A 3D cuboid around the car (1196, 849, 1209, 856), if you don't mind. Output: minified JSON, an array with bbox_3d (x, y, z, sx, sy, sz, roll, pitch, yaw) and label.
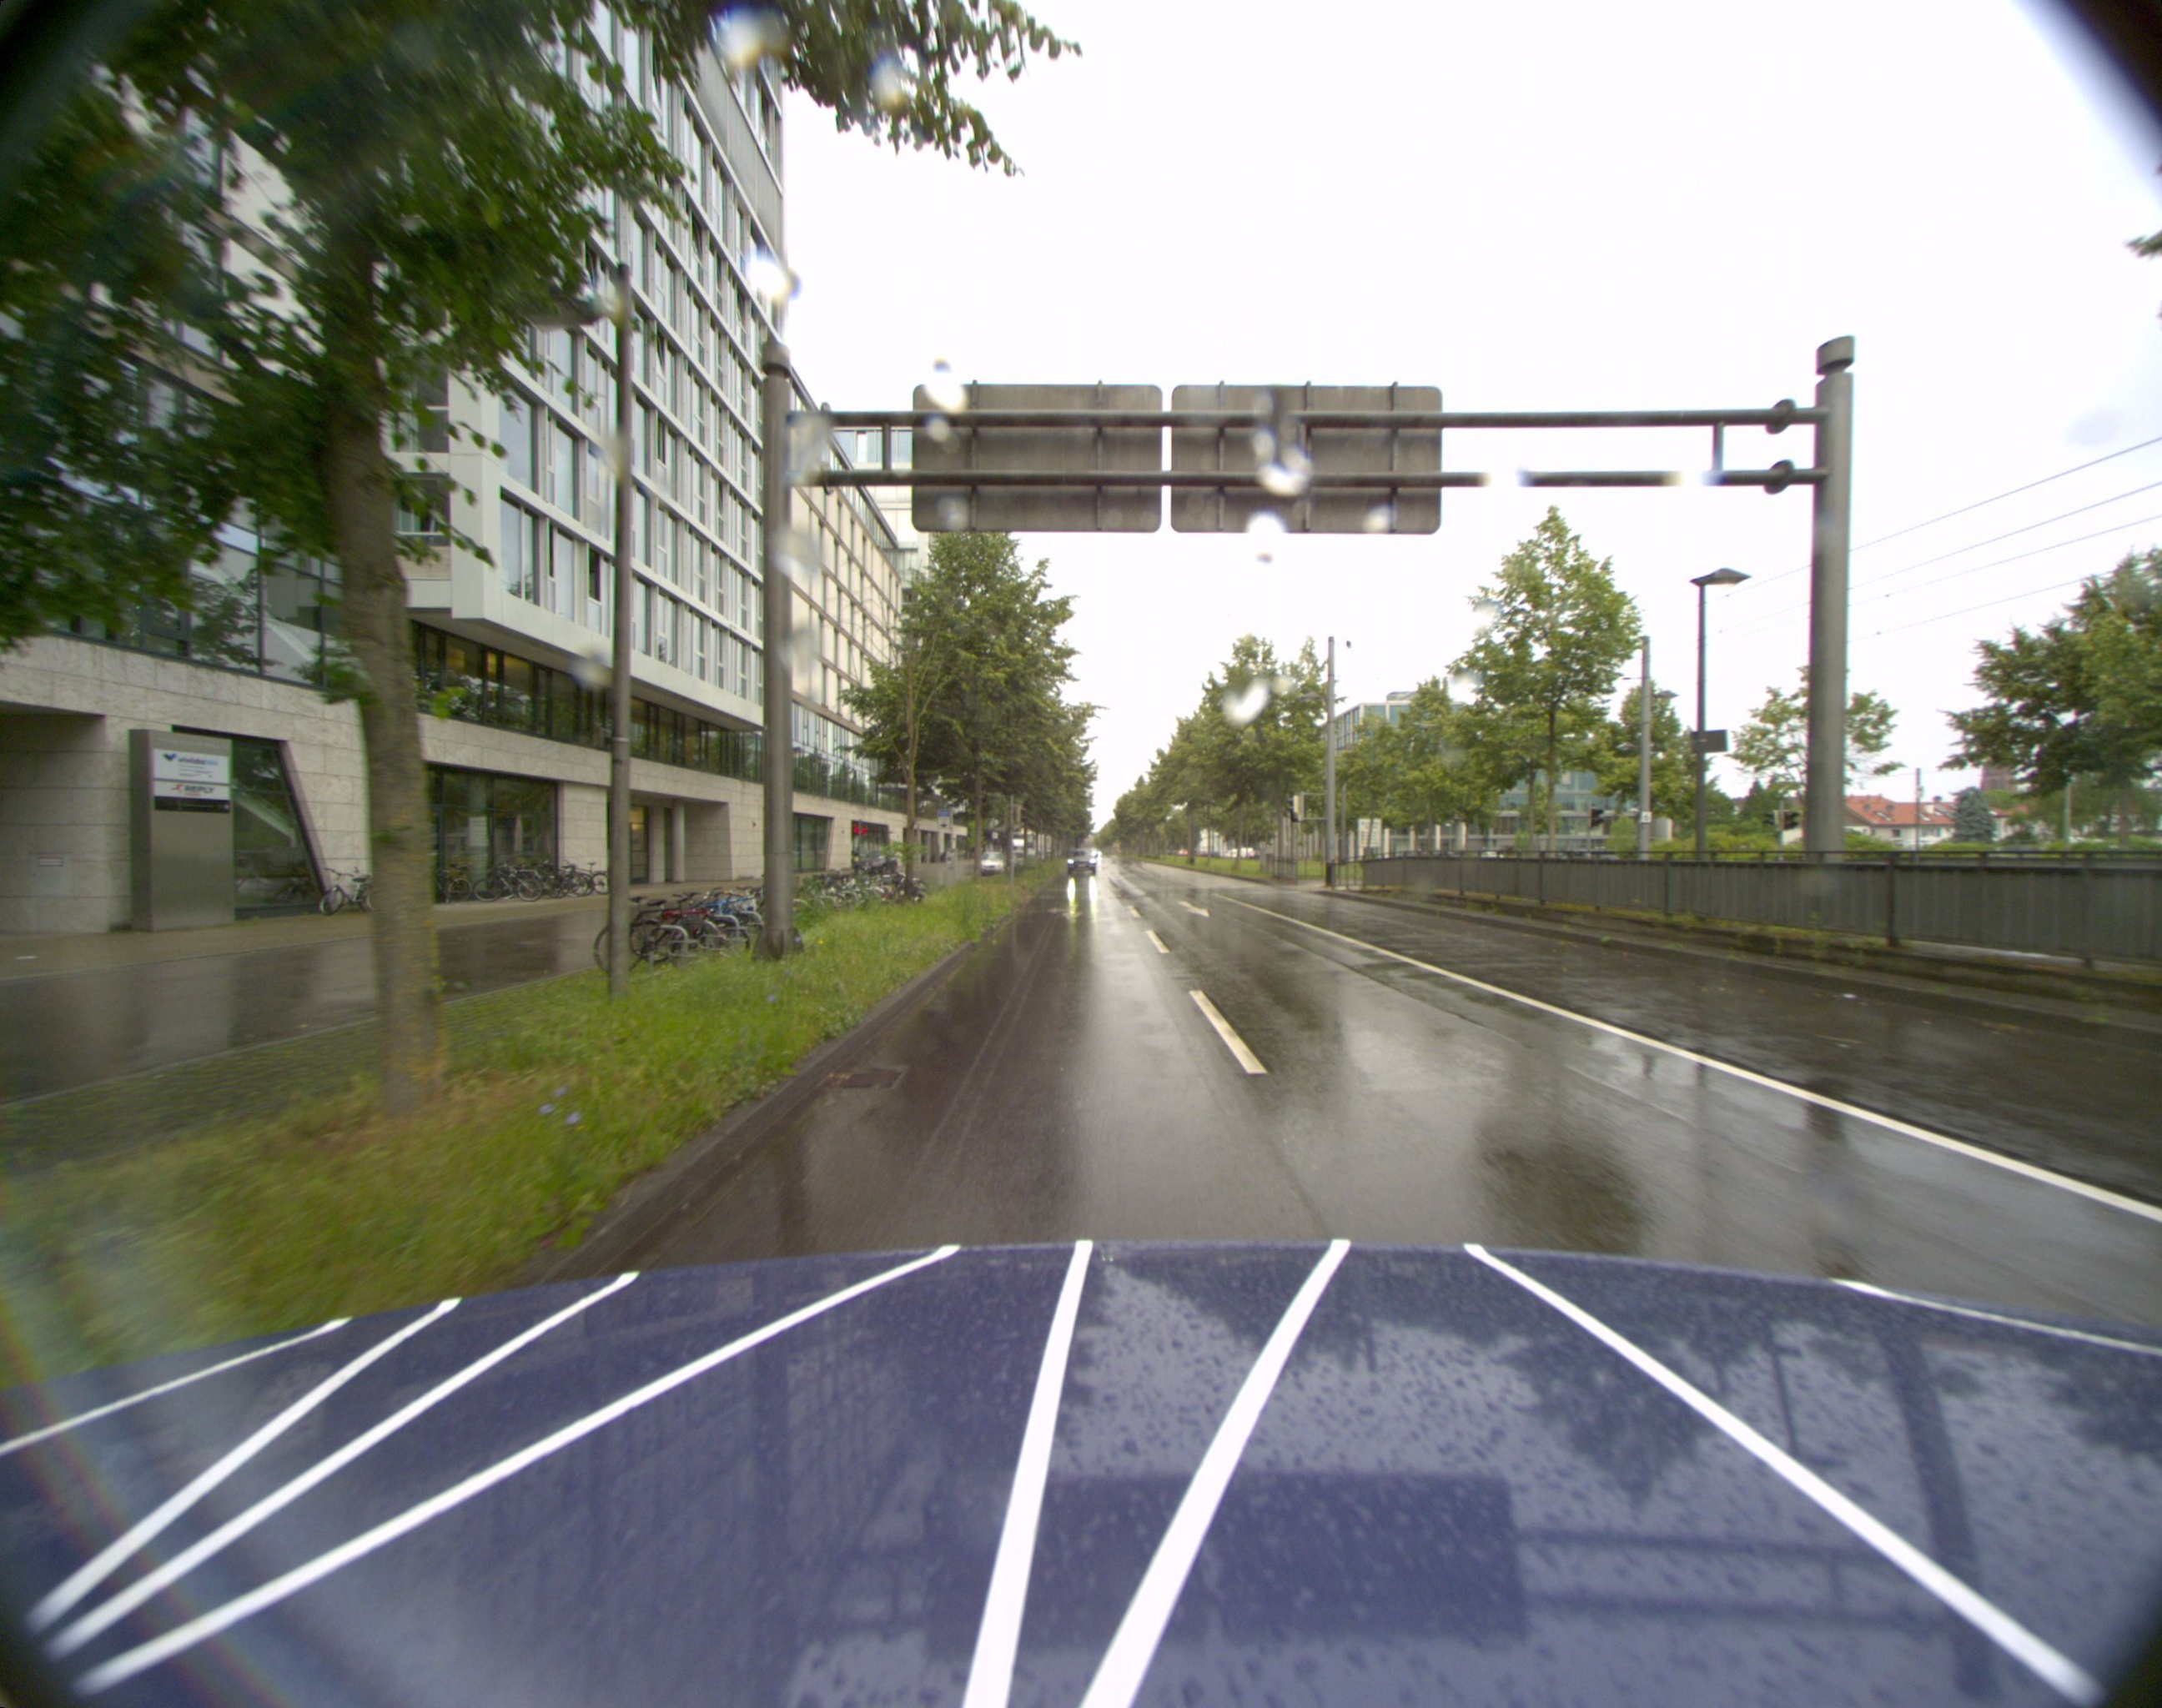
[{"bbox_3d":[26.980,-0.229,168.921,1.956,1.377,4.605,1,-2,0],"label":"car"}]

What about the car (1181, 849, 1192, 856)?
[{"bbox_3d":[24.598,-0.337,177.613,1.955,1.444,4.575,0,0,0],"label":"car"}]

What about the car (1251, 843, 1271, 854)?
[{"bbox_3d":[23.467,-0.716,99.326,1.492,1.290,4.975,1,1,0],"label":"car"}]

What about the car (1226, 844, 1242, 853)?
[{"bbox_3d":[29.427,-1.007,146.261,1.956,1.641,5.030,1,-2,-2],"label":"car"}]

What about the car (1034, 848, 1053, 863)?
[{"bbox_3d":[-4.537,0.168,93.467,1.998,1.659,4.725,1,-2,1],"label":"car"}]

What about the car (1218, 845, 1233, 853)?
[{"bbox_3d":[27.228,-1.022,143.543,1.955,1.504,4.575,0,0,0],"label":"car"}]

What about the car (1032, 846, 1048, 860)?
[{"bbox_3d":[-4.752,-0.102,88.390,1.629,1.482,3.655,1,-1,0],"label":"car"}]

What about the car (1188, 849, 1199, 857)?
[{"bbox_3d":[26.800,-0.257,180.939,1.956,1.837,4.543,1,-1,0],"label":"car"}]

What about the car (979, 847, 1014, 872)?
[{"bbox_3d":[-5.439,0.386,48.459,1.888,1.496,4.720,1,-2,-10],"label":"car"}]

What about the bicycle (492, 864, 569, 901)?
[{"bbox_3d":[-15.679,0.806,21.656,1.811,1.022,0.541,1,1,3],"label":"bicycle"}]

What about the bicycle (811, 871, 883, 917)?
[{"bbox_3d":[-5.590,0.955,18.206,1.617,1.047,0.296,1,1,-2],"label":"bicycle"}]

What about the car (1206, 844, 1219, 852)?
[{"bbox_3d":[27.003,-1.188,155.886,1.956,1.485,3.963,1,-2,-2],"label":"car"}]

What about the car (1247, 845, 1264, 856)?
[{"bbox_3d":[29.392,-0.558,128.098,1.955,1.739,4.577,0,1,4],"label":"car"}]

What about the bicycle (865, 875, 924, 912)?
[{"bbox_3d":[-5.310,1.116,21.652,1.577,1.012,0.408,1,1,7],"label":"bicycle"}]

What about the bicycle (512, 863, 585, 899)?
[{"bbox_3d":[-15.644,0.793,22.338,1.811,1.022,0.541,1,1,3],"label":"bicycle"}]

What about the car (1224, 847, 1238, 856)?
[{"bbox_3d":[26.407,-0.480,133.784,1.955,1.452,4.834,0,-2,4],"label":"car"}]

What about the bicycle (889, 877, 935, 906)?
[{"bbox_3d":[-5.063,1.115,22.768,1.291,0.844,0.275,1,1,5],"label":"bicycle"}]

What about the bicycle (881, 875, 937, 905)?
[{"bbox_3d":[-5.233,1.091,23.131,1.675,0.844,0.275,1,1,5],"label":"bicycle"}]

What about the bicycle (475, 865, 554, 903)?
[{"bbox_3d":[-15.716,0.821,21.085,1.811,1.022,0.541,1,1,3],"label":"bicycle"}]

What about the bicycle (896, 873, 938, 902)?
[{"bbox_3d":[-5.310,1.083,24.609,1.290,0.869,0.301,1,1,12],"label":"bicycle"}]

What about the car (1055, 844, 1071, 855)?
[{"bbox_3d":[-2.677,-0.676,112.422,1.962,1.504,4.479,1,1,-6],"label":"car"}]

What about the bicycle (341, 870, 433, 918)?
[{"bbox_3d":[-15.402,0.889,16.876,1.697,1.022,0.423,1,1,3],"label":"bicycle"}]

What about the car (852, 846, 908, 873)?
[{"bbox_3d":[-12.430,0.353,47.278,1.998,1.492,5.034,3,0,1],"label":"car"}]

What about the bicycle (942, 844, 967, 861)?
[{"bbox_3d":[-14.103,-0.204,84.846,2.685,1.850,0.707,1,1,5],"label":"bicycle"}]

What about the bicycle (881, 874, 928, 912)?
[{"bbox_3d":[-5.114,1.125,22.023,1.291,1.068,0.275,1,1,9],"label":"bicycle"}]

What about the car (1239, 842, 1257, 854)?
[{"bbox_3d":[29.861,-1.050,136.216,2.273,1.994,5.375,1,-2,2],"label":"car"}]

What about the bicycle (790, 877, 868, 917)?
[{"bbox_3d":[-5.563,0.950,16.805,1.619,0.844,0.275,-1,2,0],"label":"bicycle"}]

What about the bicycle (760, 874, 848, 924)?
[{"bbox_3d":[-5.598,0.902,15.365,1.647,0.983,0.320,1,1,0],"label":"bicycle"}]

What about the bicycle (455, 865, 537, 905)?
[{"bbox_3d":[-15.750,0.836,20.476,1.811,1.022,0.541,1,1,3],"label":"bicycle"}]

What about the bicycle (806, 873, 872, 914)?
[{"bbox_3d":[-5.538,0.901,17.419,1.414,0.892,0.275,1,1,-2],"label":"bicycle"}]

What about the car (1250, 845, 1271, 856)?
[{"bbox_3d":[23.342,-0.406,98.991,1.553,1.258,4.852,1,-1,-1],"label":"car"}]

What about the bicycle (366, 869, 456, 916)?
[{"bbox_3d":[-15.355,0.878,17.419,1.754,1.022,0.412,1,1,3],"label":"bicycle"}]

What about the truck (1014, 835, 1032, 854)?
[{"bbox_3d":[-10.771,-1.780,141.811,3.033,3.421,8.545,0,0,-2],"label":"truck"}]

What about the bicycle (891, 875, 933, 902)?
[{"bbox_3d":[-5.386,1.098,24.242,1.290,0.827,0.275,1,1,12],"label":"bicycle"}]

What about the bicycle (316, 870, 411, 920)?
[{"bbox_3d":[-15.432,0.869,16.359,1.697,1.022,0.423,1,1,3],"label":"bicycle"}]

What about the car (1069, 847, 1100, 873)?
[{"bbox_3d":[0.297,0.374,51.166,1.928,1.651,4.716,1,0,1],"label":"car"}]

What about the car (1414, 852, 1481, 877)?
[{"bbox_3d":[26.002,0.716,54.096,1.956,1.598,5.499,1,1,-2],"label":"car"}]
